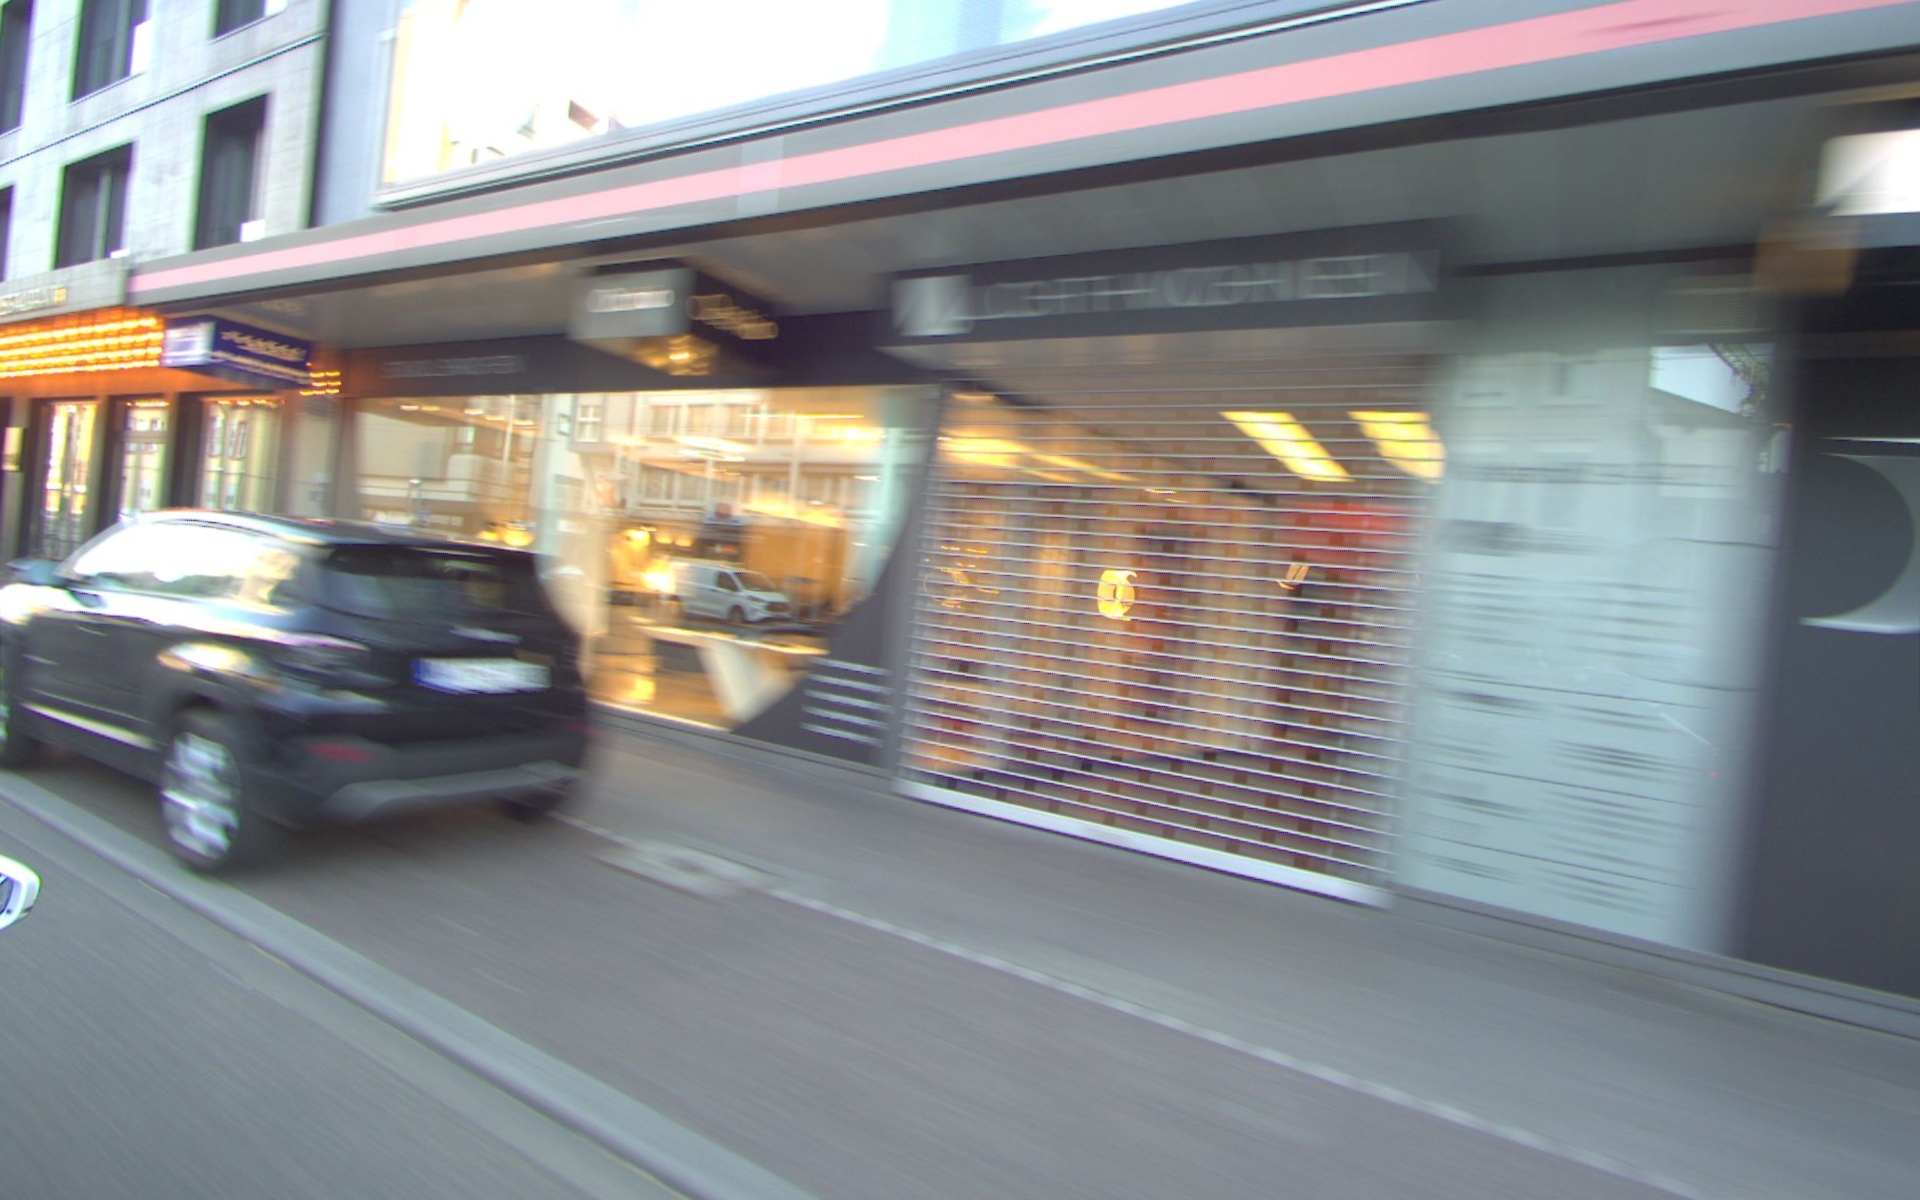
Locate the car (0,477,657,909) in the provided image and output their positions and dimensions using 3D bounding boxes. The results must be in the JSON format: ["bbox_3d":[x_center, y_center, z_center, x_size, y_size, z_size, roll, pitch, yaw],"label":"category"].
[{"bbox_3d":[-3.749,0.275,5.508,3.900,1.560,1.742,6,0,31],"label":"car"}]
